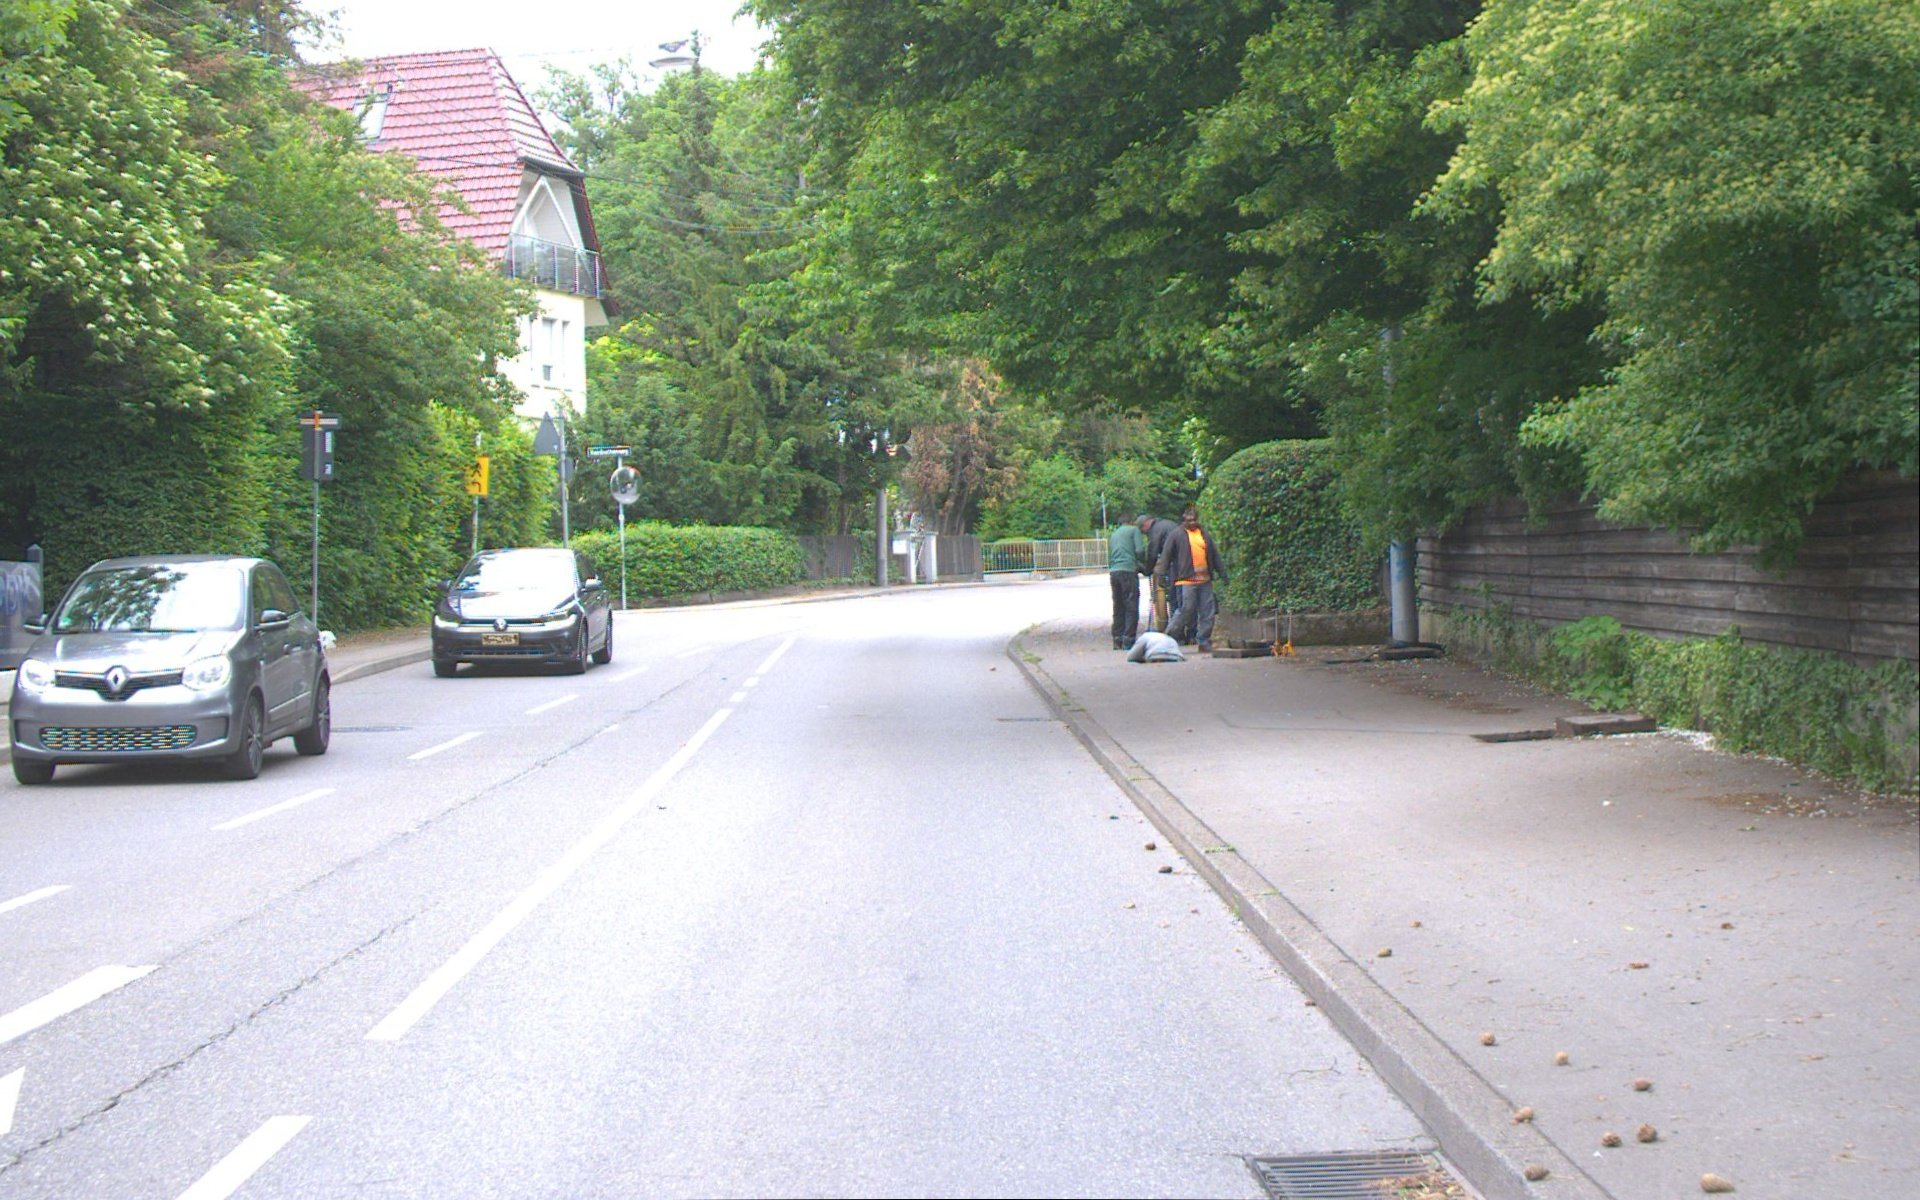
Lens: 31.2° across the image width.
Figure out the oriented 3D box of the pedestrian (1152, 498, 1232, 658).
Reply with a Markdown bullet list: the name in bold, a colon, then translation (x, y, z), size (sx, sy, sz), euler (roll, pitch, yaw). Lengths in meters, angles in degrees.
- **pedestrian**: translation (2.653, -0.254, 39.412), size (0.807, 1.801, 0.741), euler (-2, 1, -1)

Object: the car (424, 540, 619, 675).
- **car**: translation (-5.104, 0.049, 40.484), size (1.681, 1.466, 4.017), euler (-2, 1, 1)

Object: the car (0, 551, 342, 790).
- **car**: translation (-5.606, 0.445, 24.646), size (1.684, 1.514, 3.536), euler (-1, 1, 0)

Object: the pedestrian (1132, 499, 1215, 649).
- **pedestrian**: translation (2.596, -0.315, 41.856), size (0.689, 1.801, 0.673), euler (-2, 1, -41)

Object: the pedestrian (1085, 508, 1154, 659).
- **pedestrian**: translation (1.924, -0.198, 41.559), size (0.601, 1.801, 0.517), euler (-1, 1, 40)

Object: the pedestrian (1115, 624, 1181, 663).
- **pedestrian**: translation (2.095, 0.482, 38.409), size (0.672, 0.392, 0.741), euler (-2, 1, -1)
